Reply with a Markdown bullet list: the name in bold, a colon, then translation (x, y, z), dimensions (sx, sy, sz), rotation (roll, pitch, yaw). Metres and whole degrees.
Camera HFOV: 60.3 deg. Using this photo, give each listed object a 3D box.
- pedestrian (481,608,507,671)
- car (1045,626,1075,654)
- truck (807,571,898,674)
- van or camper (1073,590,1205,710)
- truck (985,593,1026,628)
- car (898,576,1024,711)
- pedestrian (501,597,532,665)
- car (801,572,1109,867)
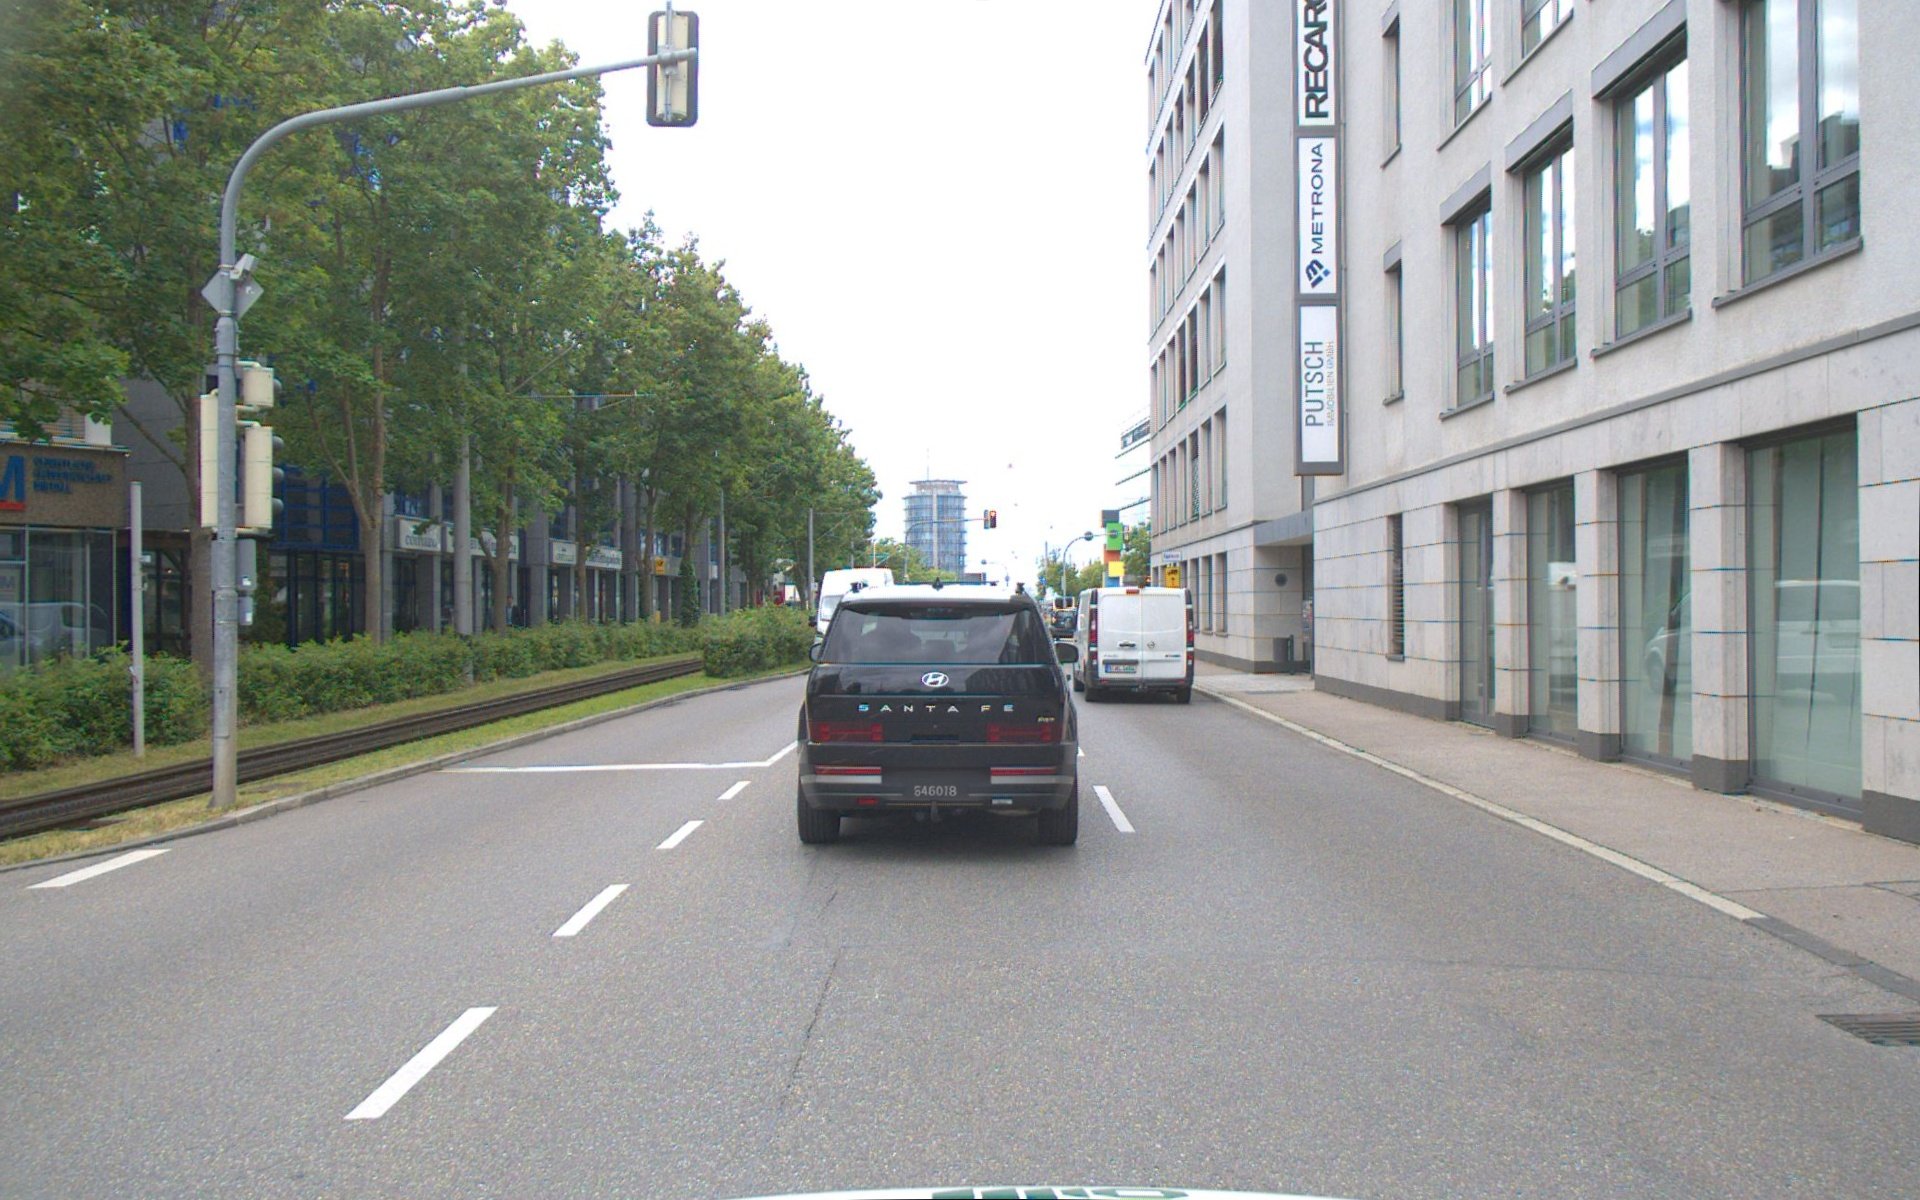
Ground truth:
- **pedestrian**: translation (-15.283, 1.291, 54.229), dimensions (0.667, 2.049, 0.571), rotation (-1, -1, 1)
- **car**: translation (6.016, 2.351, 99.015), dimensions (1.722, 1.637, 4.190), rotation (0, -1, 4)
- **truck**: translation (-2.910, 0.632, 45.837), dimensions (2.121, 2.661, 5.795), rotation (0, -1, 0)
- **van or camper**: translation (3.110, 0.861, 29.600), dimensions (1.952, 1.949, 4.332), rotation (1, -1, 1)
- **truck**: translation (3.719, 0.939, 137.657), dimensions (2.288, 2.796, 6.473), rotation (0, -1, -9)
- **car**: translation (-0.065, 0.693, 27.354), dimensions (1.893, 2.029, 4.532), rotation (0, -1, -3)
- **pedestrian**: translation (-12.735, 0.889, 47.496), dimensions (0.661, 1.942, 0.622), rotation (-1, -1, 1)
- **car**: translation (-0.179, 0.768, 12.253), dimensions (1.871, 1.780, 4.392), rotation (0, -1, -4)
